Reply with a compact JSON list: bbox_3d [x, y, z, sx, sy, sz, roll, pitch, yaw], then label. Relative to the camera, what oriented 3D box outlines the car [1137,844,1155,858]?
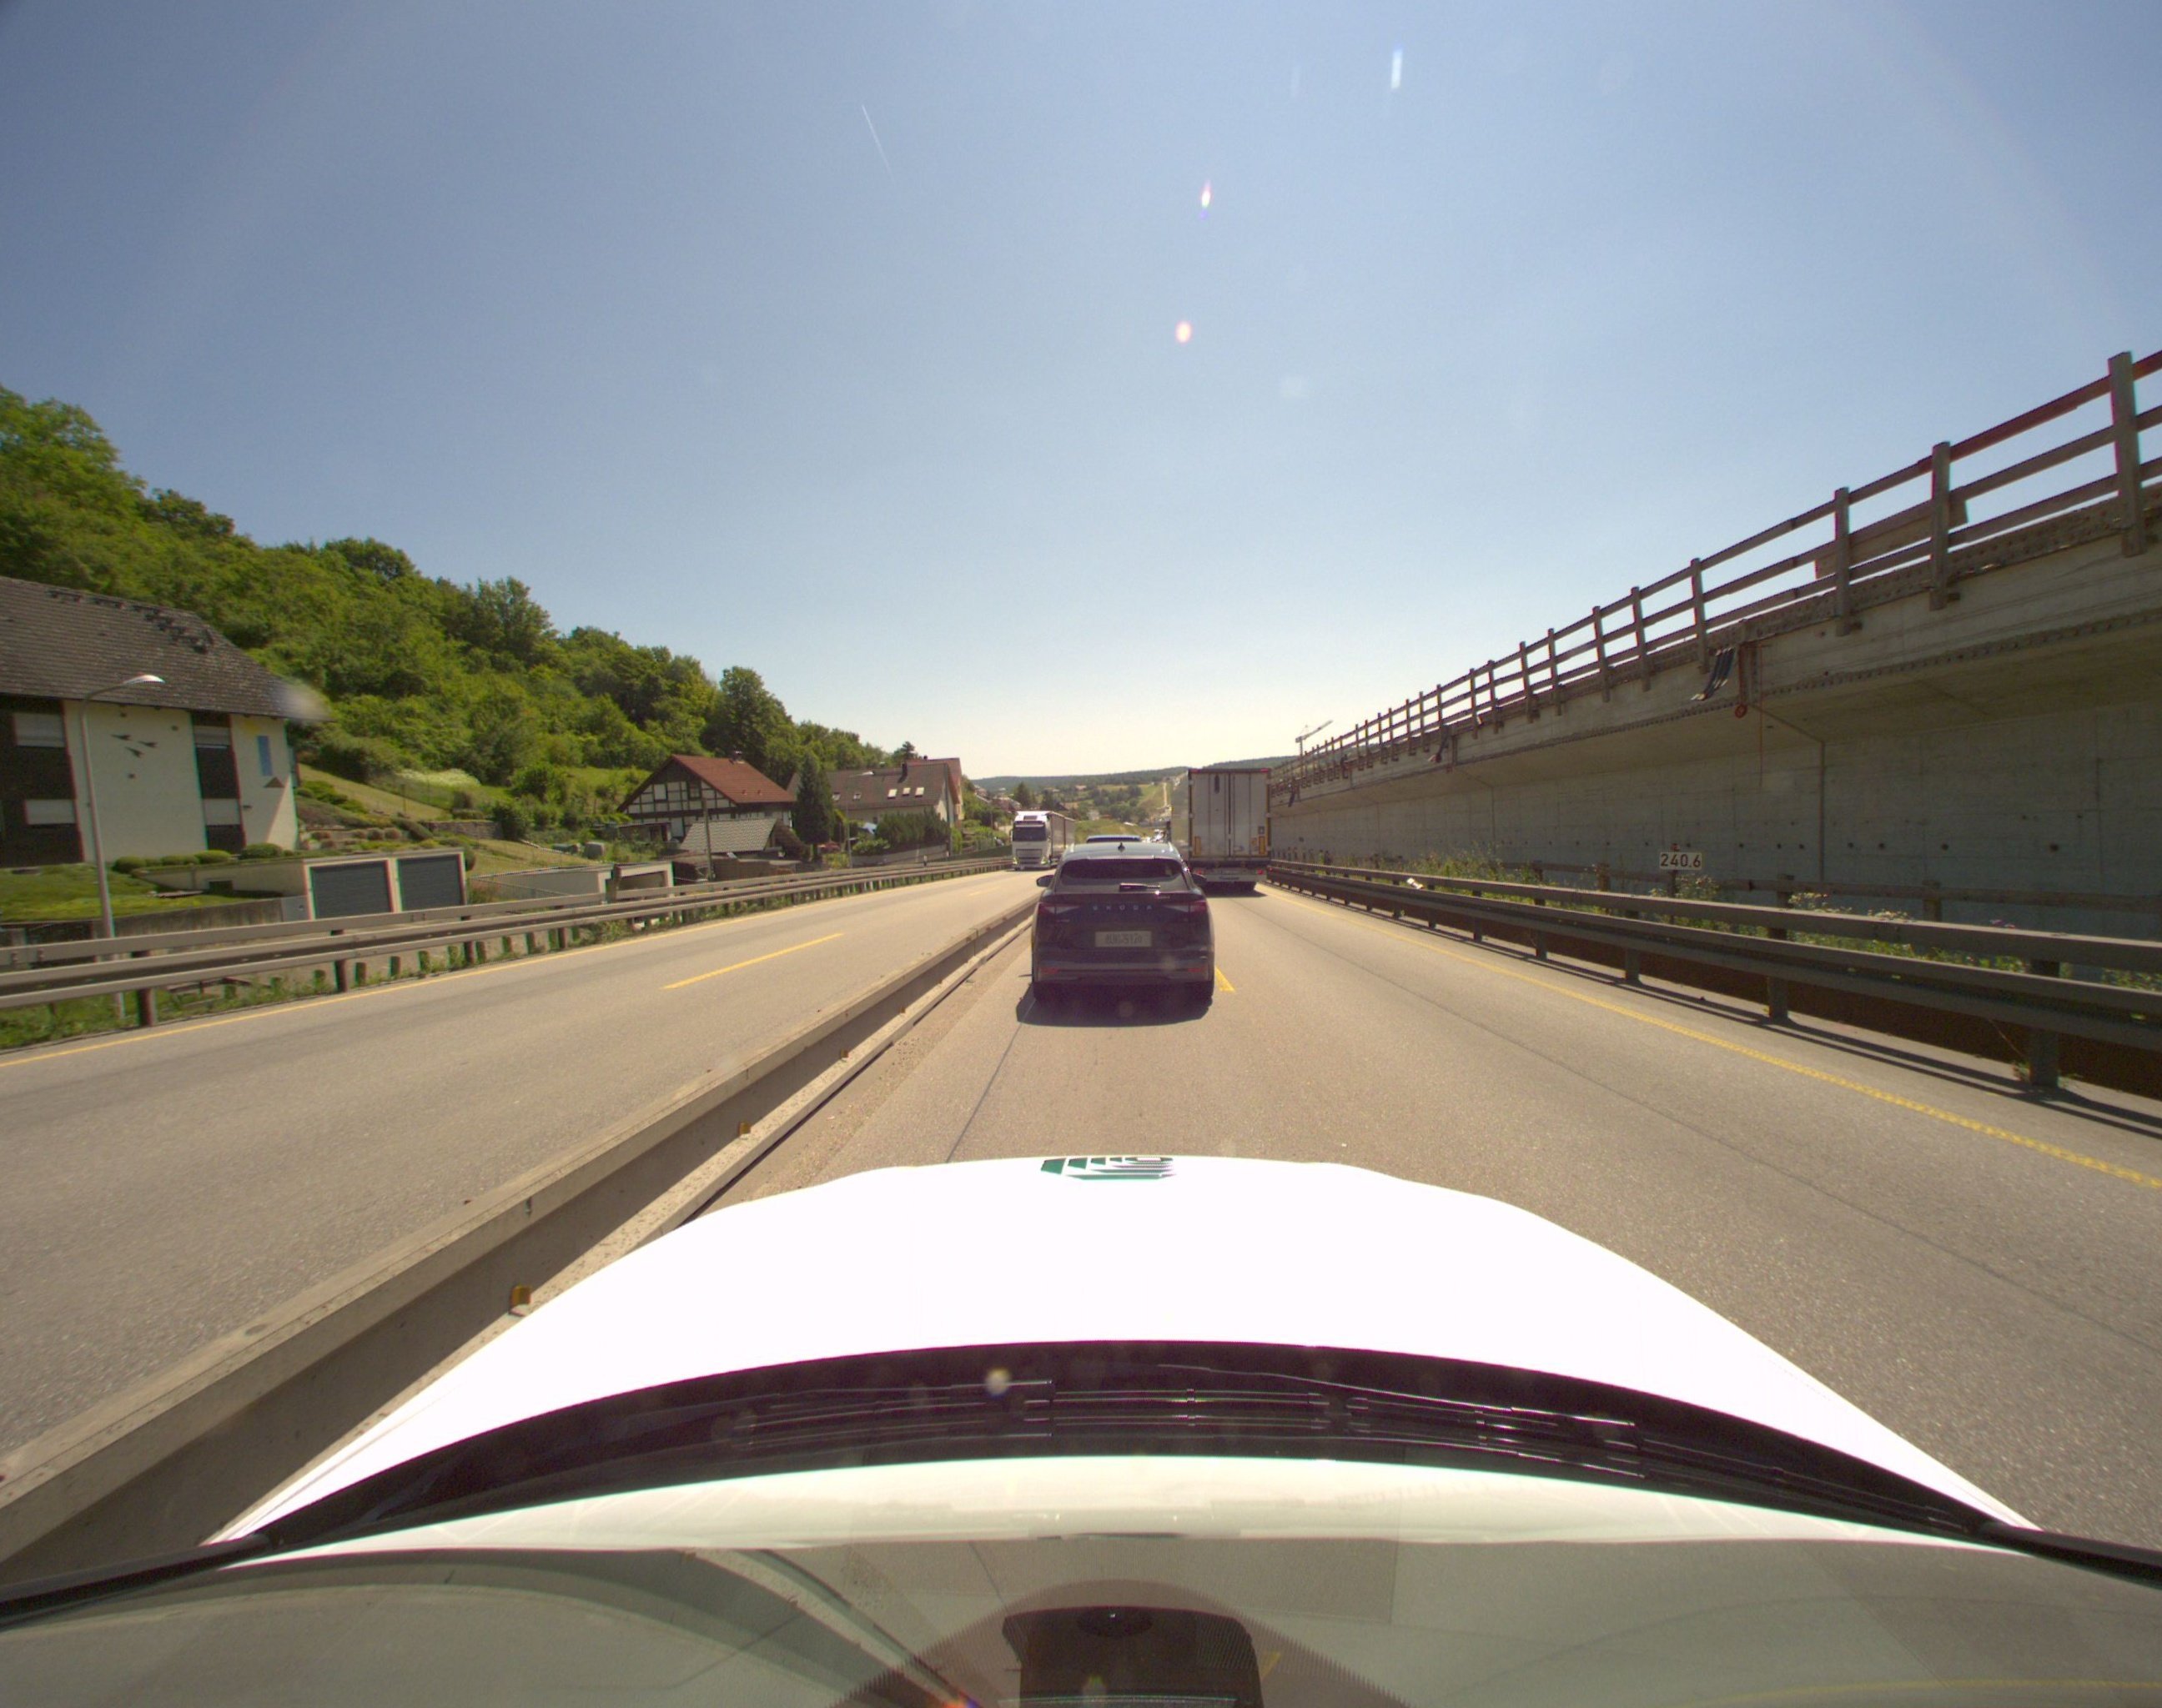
[{"bbox_3d":[7.845,-0.374,98.220,1.985,1.585,3.839,0,-1,3],"label":"car"}]

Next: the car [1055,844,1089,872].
[{"bbox_3d":[-0.487,0.268,49.437,1.852,1.611,4.070,0,-1,2],"label":"car"}]

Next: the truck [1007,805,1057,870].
[{"bbox_3d":[-3.329,-1.104,56.576,2.739,4.283,4.964,0,0,5],"label":"truck"}]

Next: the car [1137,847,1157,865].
[{"bbox_3d":[6.131,0.194,75.856,1.700,1.622,4.002,0,1,2],"label":"car"}]

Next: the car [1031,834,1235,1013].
[{"bbox_3d":[0.416,0.641,9.291,1.838,1.586,3.904,0,-1,-2],"label":"car"}]

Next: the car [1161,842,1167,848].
[{"bbox_3d":[22.539,-2.422,220.962,1.692,1.728,3.843,0,-1,6],"label":"car"}]

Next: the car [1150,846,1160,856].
[{"bbox_3d":[13.225,-0.540,145.765,1.692,1.728,3.843,0,-1,6],"label":"car"}]

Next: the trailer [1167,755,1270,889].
[{"bbox_3d":[4.874,-0.938,31.038,2.521,4.127,11.556,0,-1,3],"label":"trailer"}]

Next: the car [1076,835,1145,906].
[{"bbox_3d":[0.771,0.402,23.454,1.702,1.881,3.997,0,1,-2],"label":"car"}]

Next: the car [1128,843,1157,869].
[{"bbox_3d":[4.059,0.098,54.300,1.700,1.622,4.002,0,1,2],"label":"car"}]

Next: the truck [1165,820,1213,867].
[{"bbox_3d":[8.124,-0.687,62.847,3.179,3.191,12.827,-1,-1,5],"label":"truck"}]

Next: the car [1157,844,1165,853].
[{"bbox_3d":[17.389,-1.208,176.163,1.692,1.728,3.843,0,-1,6],"label":"car"}]

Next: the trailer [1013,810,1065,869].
[{"bbox_3d":[-2.968,-1.066,60.215,2.744,4.070,8.019,0,1,5],"label":"trailer"}]

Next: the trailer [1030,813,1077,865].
[{"bbox_3d":[-2.209,-1.280,68.480,2.743,4.070,8.649,0,1,6],"label":"trailer"}]

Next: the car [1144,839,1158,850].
[{"bbox_3d":[10.402,-1.381,121.205,1.985,1.585,3.839,0,-1,3],"label":"car"}]

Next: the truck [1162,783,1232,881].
[{"bbox_3d":[5.225,-0.871,37.961,2.503,4.025,8.243,0,-1,3],"label":"truck"}]
